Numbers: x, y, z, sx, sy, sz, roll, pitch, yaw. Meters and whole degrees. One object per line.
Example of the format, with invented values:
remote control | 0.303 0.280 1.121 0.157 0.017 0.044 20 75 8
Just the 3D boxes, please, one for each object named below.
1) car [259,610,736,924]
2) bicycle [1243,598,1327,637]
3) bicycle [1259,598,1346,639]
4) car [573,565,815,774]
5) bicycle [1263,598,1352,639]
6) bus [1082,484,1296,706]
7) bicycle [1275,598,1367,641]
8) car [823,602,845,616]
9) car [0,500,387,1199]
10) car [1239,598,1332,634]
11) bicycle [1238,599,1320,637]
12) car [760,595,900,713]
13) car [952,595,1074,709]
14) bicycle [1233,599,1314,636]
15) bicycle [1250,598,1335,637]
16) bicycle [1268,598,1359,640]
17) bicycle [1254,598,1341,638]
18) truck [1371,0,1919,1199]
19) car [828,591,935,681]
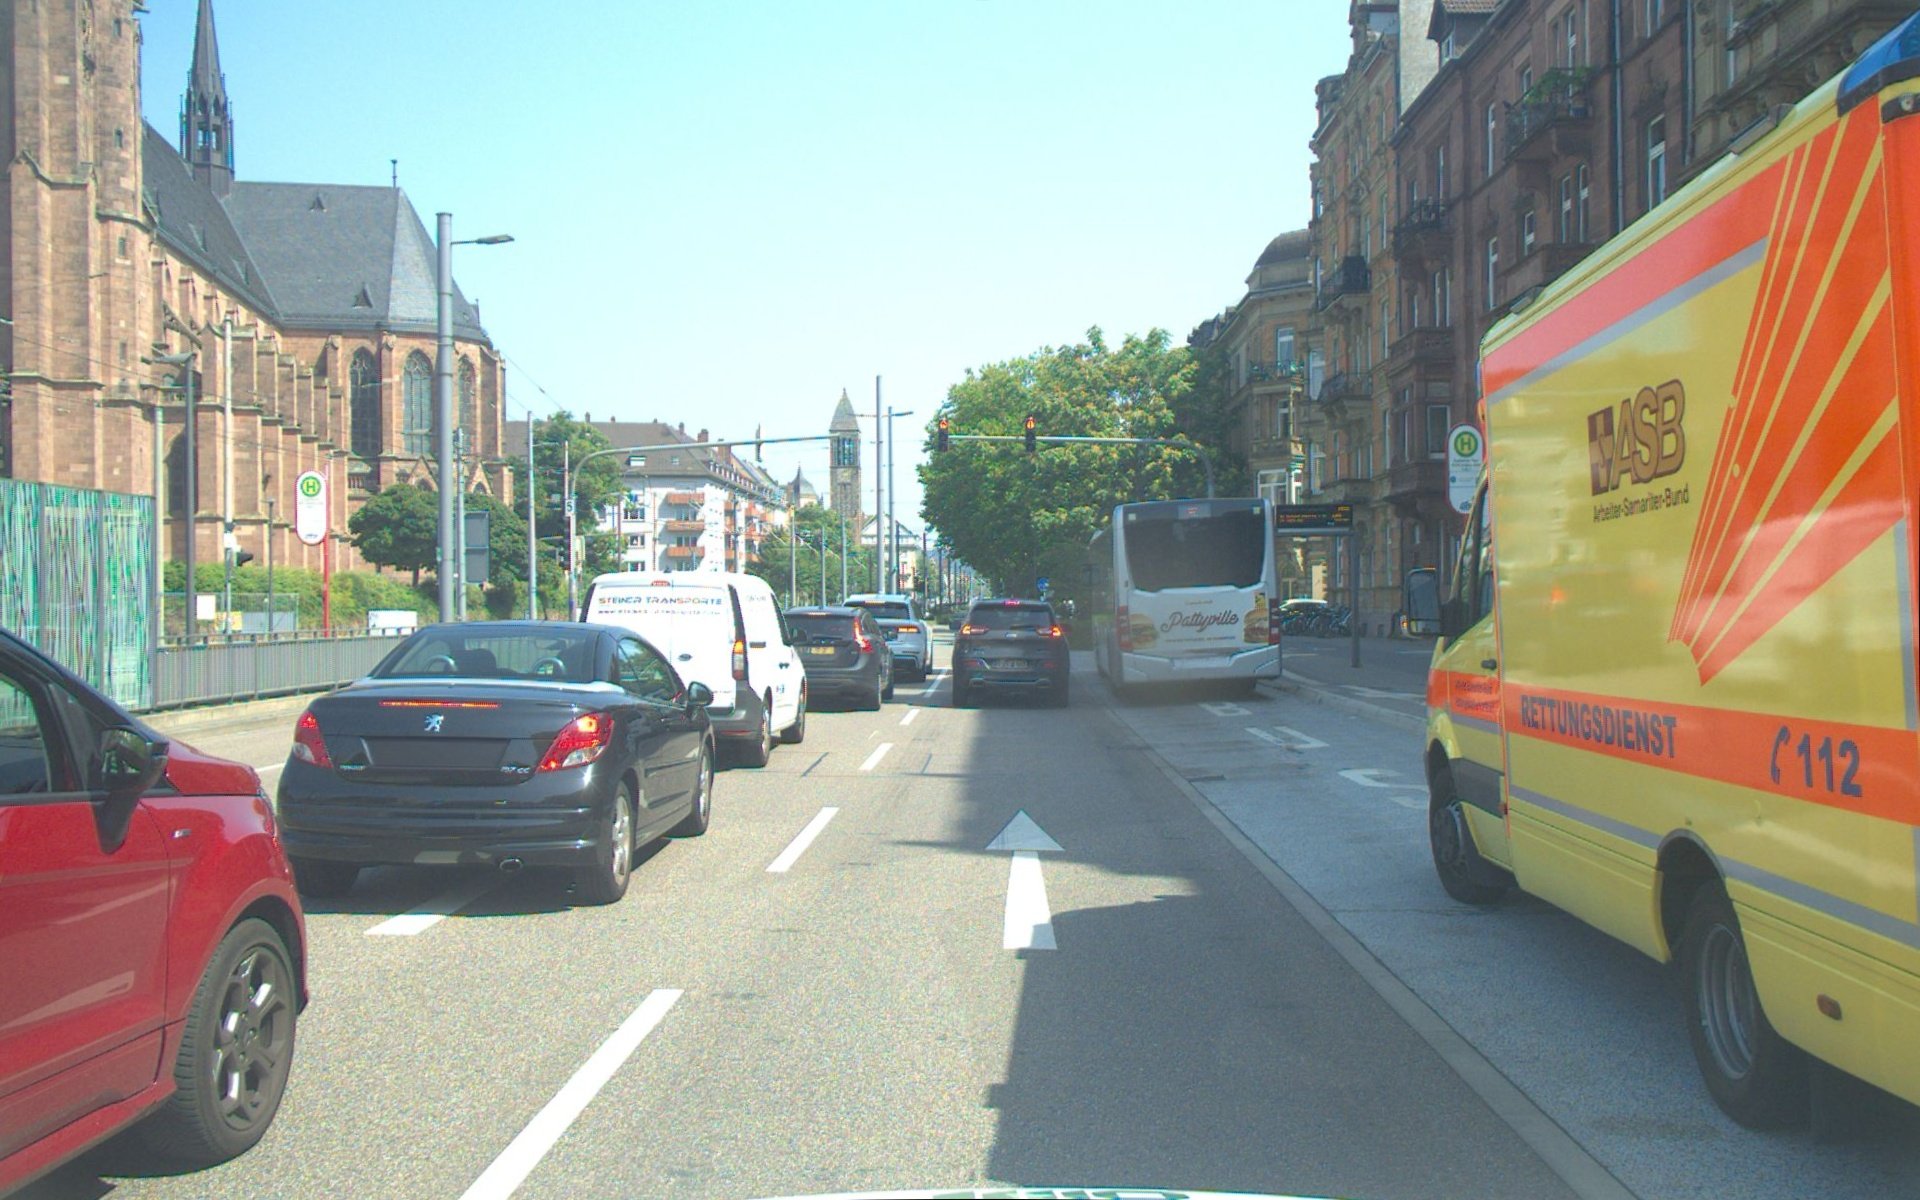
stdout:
car | -2.410 0.787 9.603 1.653 1.438 3.801 0 0 1
bicycle | 12.220 0.661 62.242 2.942 1.397 0.947 -1 0 0
bicycle | 12.247 0.668 59.192 2.932 1.395 0.871 -1 0 0
car | -2.561 0.625 16.883 1.711 1.852 4.240 0 0 1
bicycle | 12.210 0.651 58.245 2.932 1.395 0.871 -1 0 0
bus | 3.858 -0.045 30.699 2.686 3.161 11.959 -3 0 3
bicycle | 12.314 0.662 56.424 2.932 1.395 0.871 -1 0 0
car | -14.374 1.030 189.199 1.709 1.460 4.576 -2 0 5
car | -2.653 0.626 3.161 1.596 1.649 3.969 0 0 2
car | 14.928 0.714 75.957 3.856 1.547 1.680 -1 0 -7
bicycle | 12.248 0.674 63.559 2.942 1.397 0.947 -1 0 0
car | -1.896 0.756 25.261 1.711 1.643 4.309 1 0 1
car | 0.866 0.773 26.702 1.794 1.680 4.309 1 0 2
bicycle | 12.224 0.674 64.560 2.942 1.397 0.947 -1 0 0
bicycle | 12.289 0.642 61.231 2.942 1.397 0.947 -1 0 0
bicycle | 12.235 0.649 57.332 2.932 1.395 0.871 -1 0 0
bicycle | 12.261 0.648 60.136 2.942 1.397 0.947 -1 0 0
truck | 3.353 0.006 6.352 2.279 2.818 6.341 -3 -1 4
car | -1.501 0.666 33.139 1.863 1.680 4.309 0 0 1
